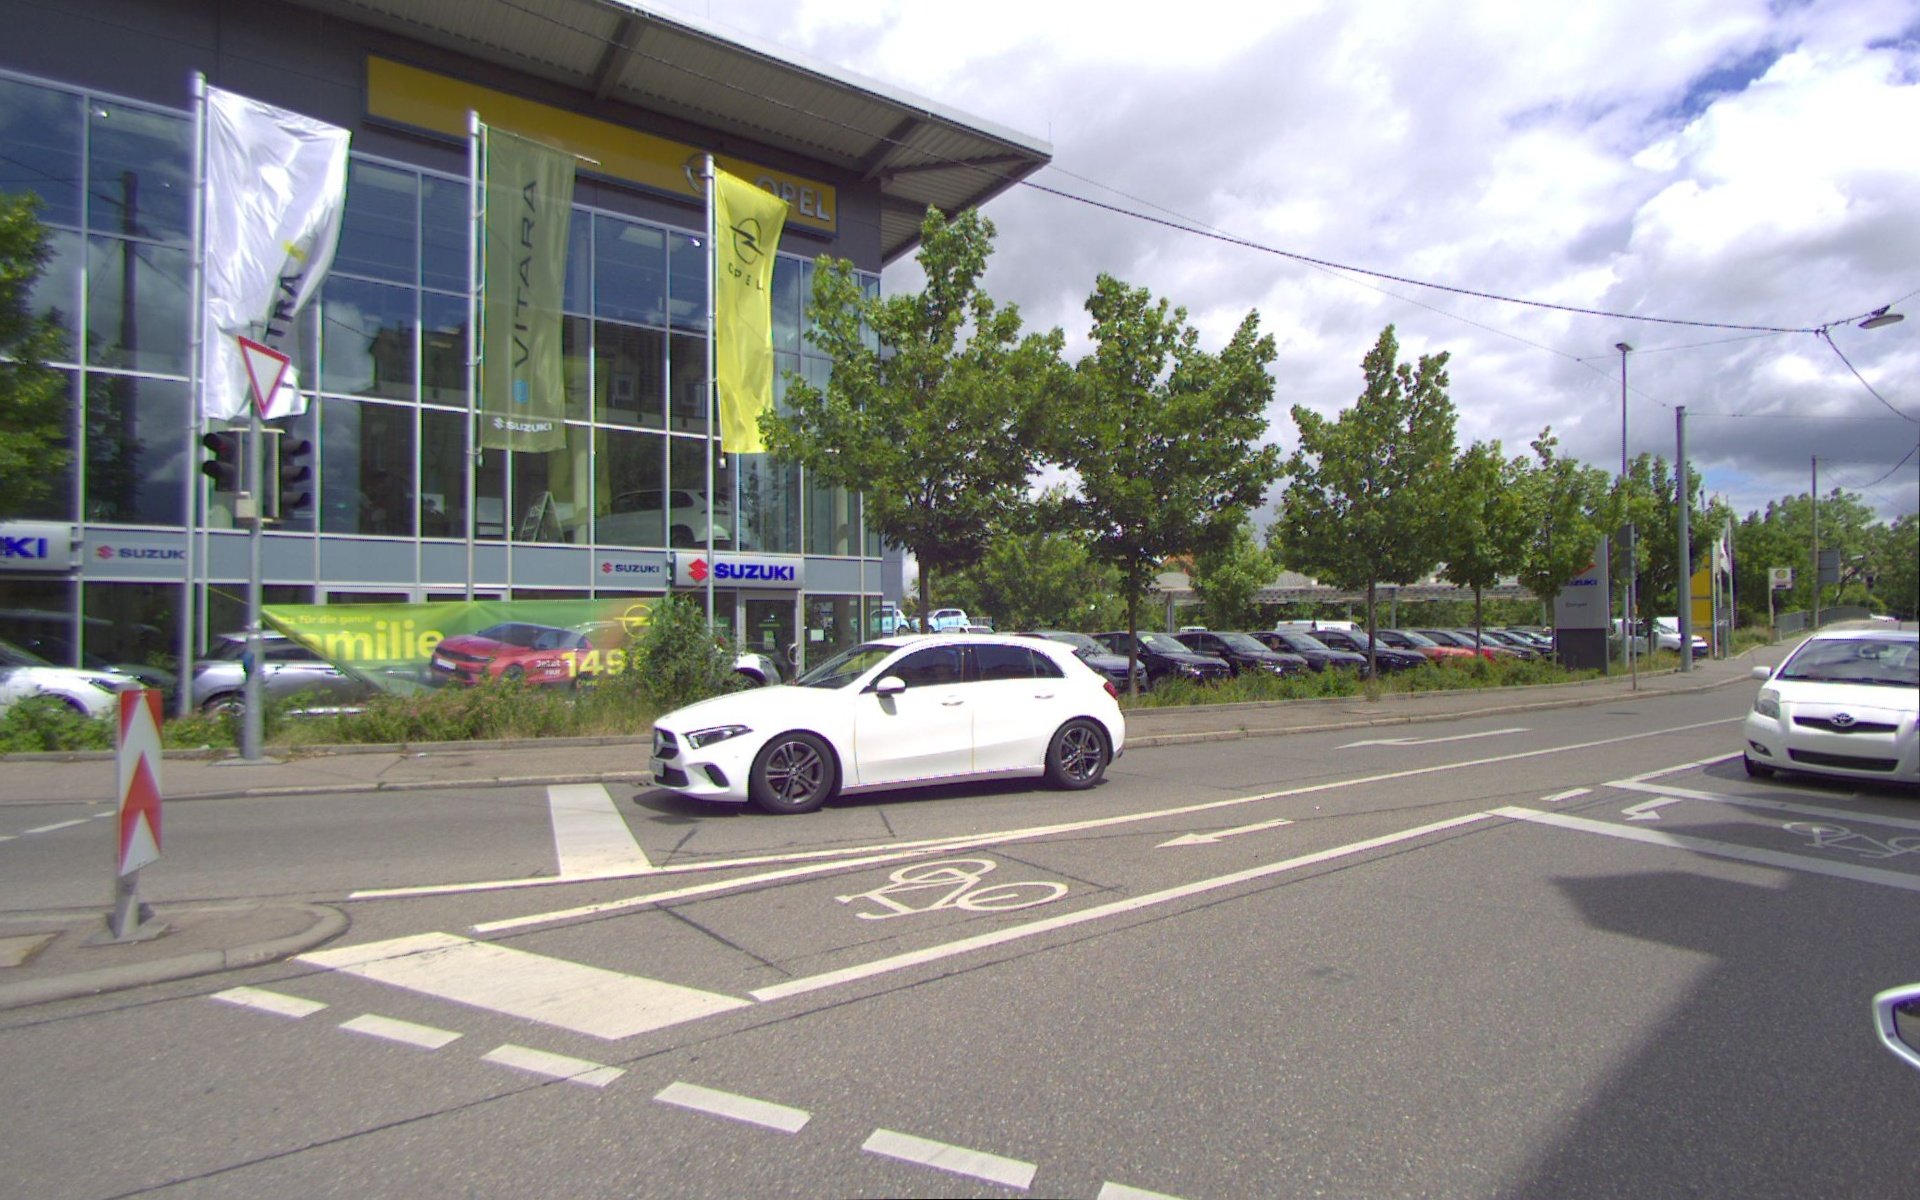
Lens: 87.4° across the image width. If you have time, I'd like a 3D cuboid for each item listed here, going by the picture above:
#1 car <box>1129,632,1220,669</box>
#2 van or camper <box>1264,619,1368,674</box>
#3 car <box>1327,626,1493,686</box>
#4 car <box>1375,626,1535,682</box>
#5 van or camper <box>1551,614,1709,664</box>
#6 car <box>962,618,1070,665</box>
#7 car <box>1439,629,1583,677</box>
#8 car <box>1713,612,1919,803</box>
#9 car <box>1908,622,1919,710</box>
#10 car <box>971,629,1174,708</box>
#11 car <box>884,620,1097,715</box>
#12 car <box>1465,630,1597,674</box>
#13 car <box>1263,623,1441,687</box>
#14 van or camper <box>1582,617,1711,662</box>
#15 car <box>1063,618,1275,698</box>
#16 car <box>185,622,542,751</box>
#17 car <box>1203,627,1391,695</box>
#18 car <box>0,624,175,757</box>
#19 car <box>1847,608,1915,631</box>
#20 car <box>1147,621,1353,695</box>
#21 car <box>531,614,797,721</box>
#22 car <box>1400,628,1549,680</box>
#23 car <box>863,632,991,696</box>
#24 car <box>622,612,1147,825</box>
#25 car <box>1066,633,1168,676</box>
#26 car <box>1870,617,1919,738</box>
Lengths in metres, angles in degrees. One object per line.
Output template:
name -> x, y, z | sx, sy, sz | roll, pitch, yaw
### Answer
car -> 8.549, 2.012, 40.215 | 1.506, 1.391, 3.286 | 0, -2, -42
van or camper -> 14.282, 1.804, 40.181 | 4.651, 2.040, 1.976 | 0, -2, -43
car -> 12.397, 1.515, 27.817 | 1.798, 1.517, 3.794 | 0, -2, -41
car -> 14.467, 1.563, 29.481 | 1.799, 1.517, 3.814 | 0, -2, -42
van or camper -> 25.659, 1.496, 38.607 | 1.982, 1.773, 4.635 | 0, -2, -37
car -> 1.735, 1.299, 31.654 | 1.506, 1.391, 3.286 | 0, -2, -42
car -> 18.150, 1.742, 33.202 | 1.761, 1.480, 3.797 | 0, -2, -43
car -> 9.379, 0.988, 10.319 | 3.966, 1.602, 1.705 | 2, -1, -39
car -> 19.478, 1.268, 18.988 | 4.215, 1.602, 1.705 | 2, -1, -39
car -> 2.176, 1.331, 20.360 | 1.796, 1.413, 4.037 | 0, -2, -38
car -> 0.445, 1.183, 18.400 | 1.796, 1.517, 3.958 | 0, -2, -38
car -> 19.741, 1.798, 34.793 | 3.658, 1.428, 1.785 | -3, -2, 43
car -> 10.191, 1.407, 26.306 | 1.798, 1.517, 3.947 | 0, -2, -41
van or camper -> 31.556, 1.787, 46.222 | 4.869, 1.989, 1.987 | 0, 0, -10
car -> 4.345, 1.193, 21.384 | 1.798, 1.517, 4.171 | 0, -2, -41
car -> -8.648, 1.177, 14.779 | 4.267, 1.583, 1.928 | 2, -1, -37
car -> 8.199, 1.458, 24.671 | 1.798, 1.517, 4.020 | 0, -2, -41
car -> -12.269, 1.044, 12.031 | 4.258, 1.493, 1.933 | 2, -1, -32
car -> 82.397, 1.721, 89.982 | 4.368, 1.856, 1.990 | 3, 0, 42
car -> 6.554, 1.292, 23.061 | 1.798, 1.517, 4.242 | 0, -2, -41
car -> -5.023, 1.100, 17.185 | 3.955, 1.583, 1.930 | 2, -1, -34
car -> 16.125, 1.674, 31.565 | 1.801, 1.517, 3.776 | 0, -2, -44
car -> -0.825, 1.480, 23.856 | 1.506, 1.391, 2.985 | 0, -2, -40
car -> -0.586, 0.968, 9.030 | 4.409, 1.516, 1.712 | 2, -4, -29
car -> 5.428, 1.877, 34.886 | 1.506, 1.391, 3.286 | 0, -2, -42
car -> 14.692, 1.112, 14.473 | 4.281, 1.602, 1.705 | 2, -1, -39
